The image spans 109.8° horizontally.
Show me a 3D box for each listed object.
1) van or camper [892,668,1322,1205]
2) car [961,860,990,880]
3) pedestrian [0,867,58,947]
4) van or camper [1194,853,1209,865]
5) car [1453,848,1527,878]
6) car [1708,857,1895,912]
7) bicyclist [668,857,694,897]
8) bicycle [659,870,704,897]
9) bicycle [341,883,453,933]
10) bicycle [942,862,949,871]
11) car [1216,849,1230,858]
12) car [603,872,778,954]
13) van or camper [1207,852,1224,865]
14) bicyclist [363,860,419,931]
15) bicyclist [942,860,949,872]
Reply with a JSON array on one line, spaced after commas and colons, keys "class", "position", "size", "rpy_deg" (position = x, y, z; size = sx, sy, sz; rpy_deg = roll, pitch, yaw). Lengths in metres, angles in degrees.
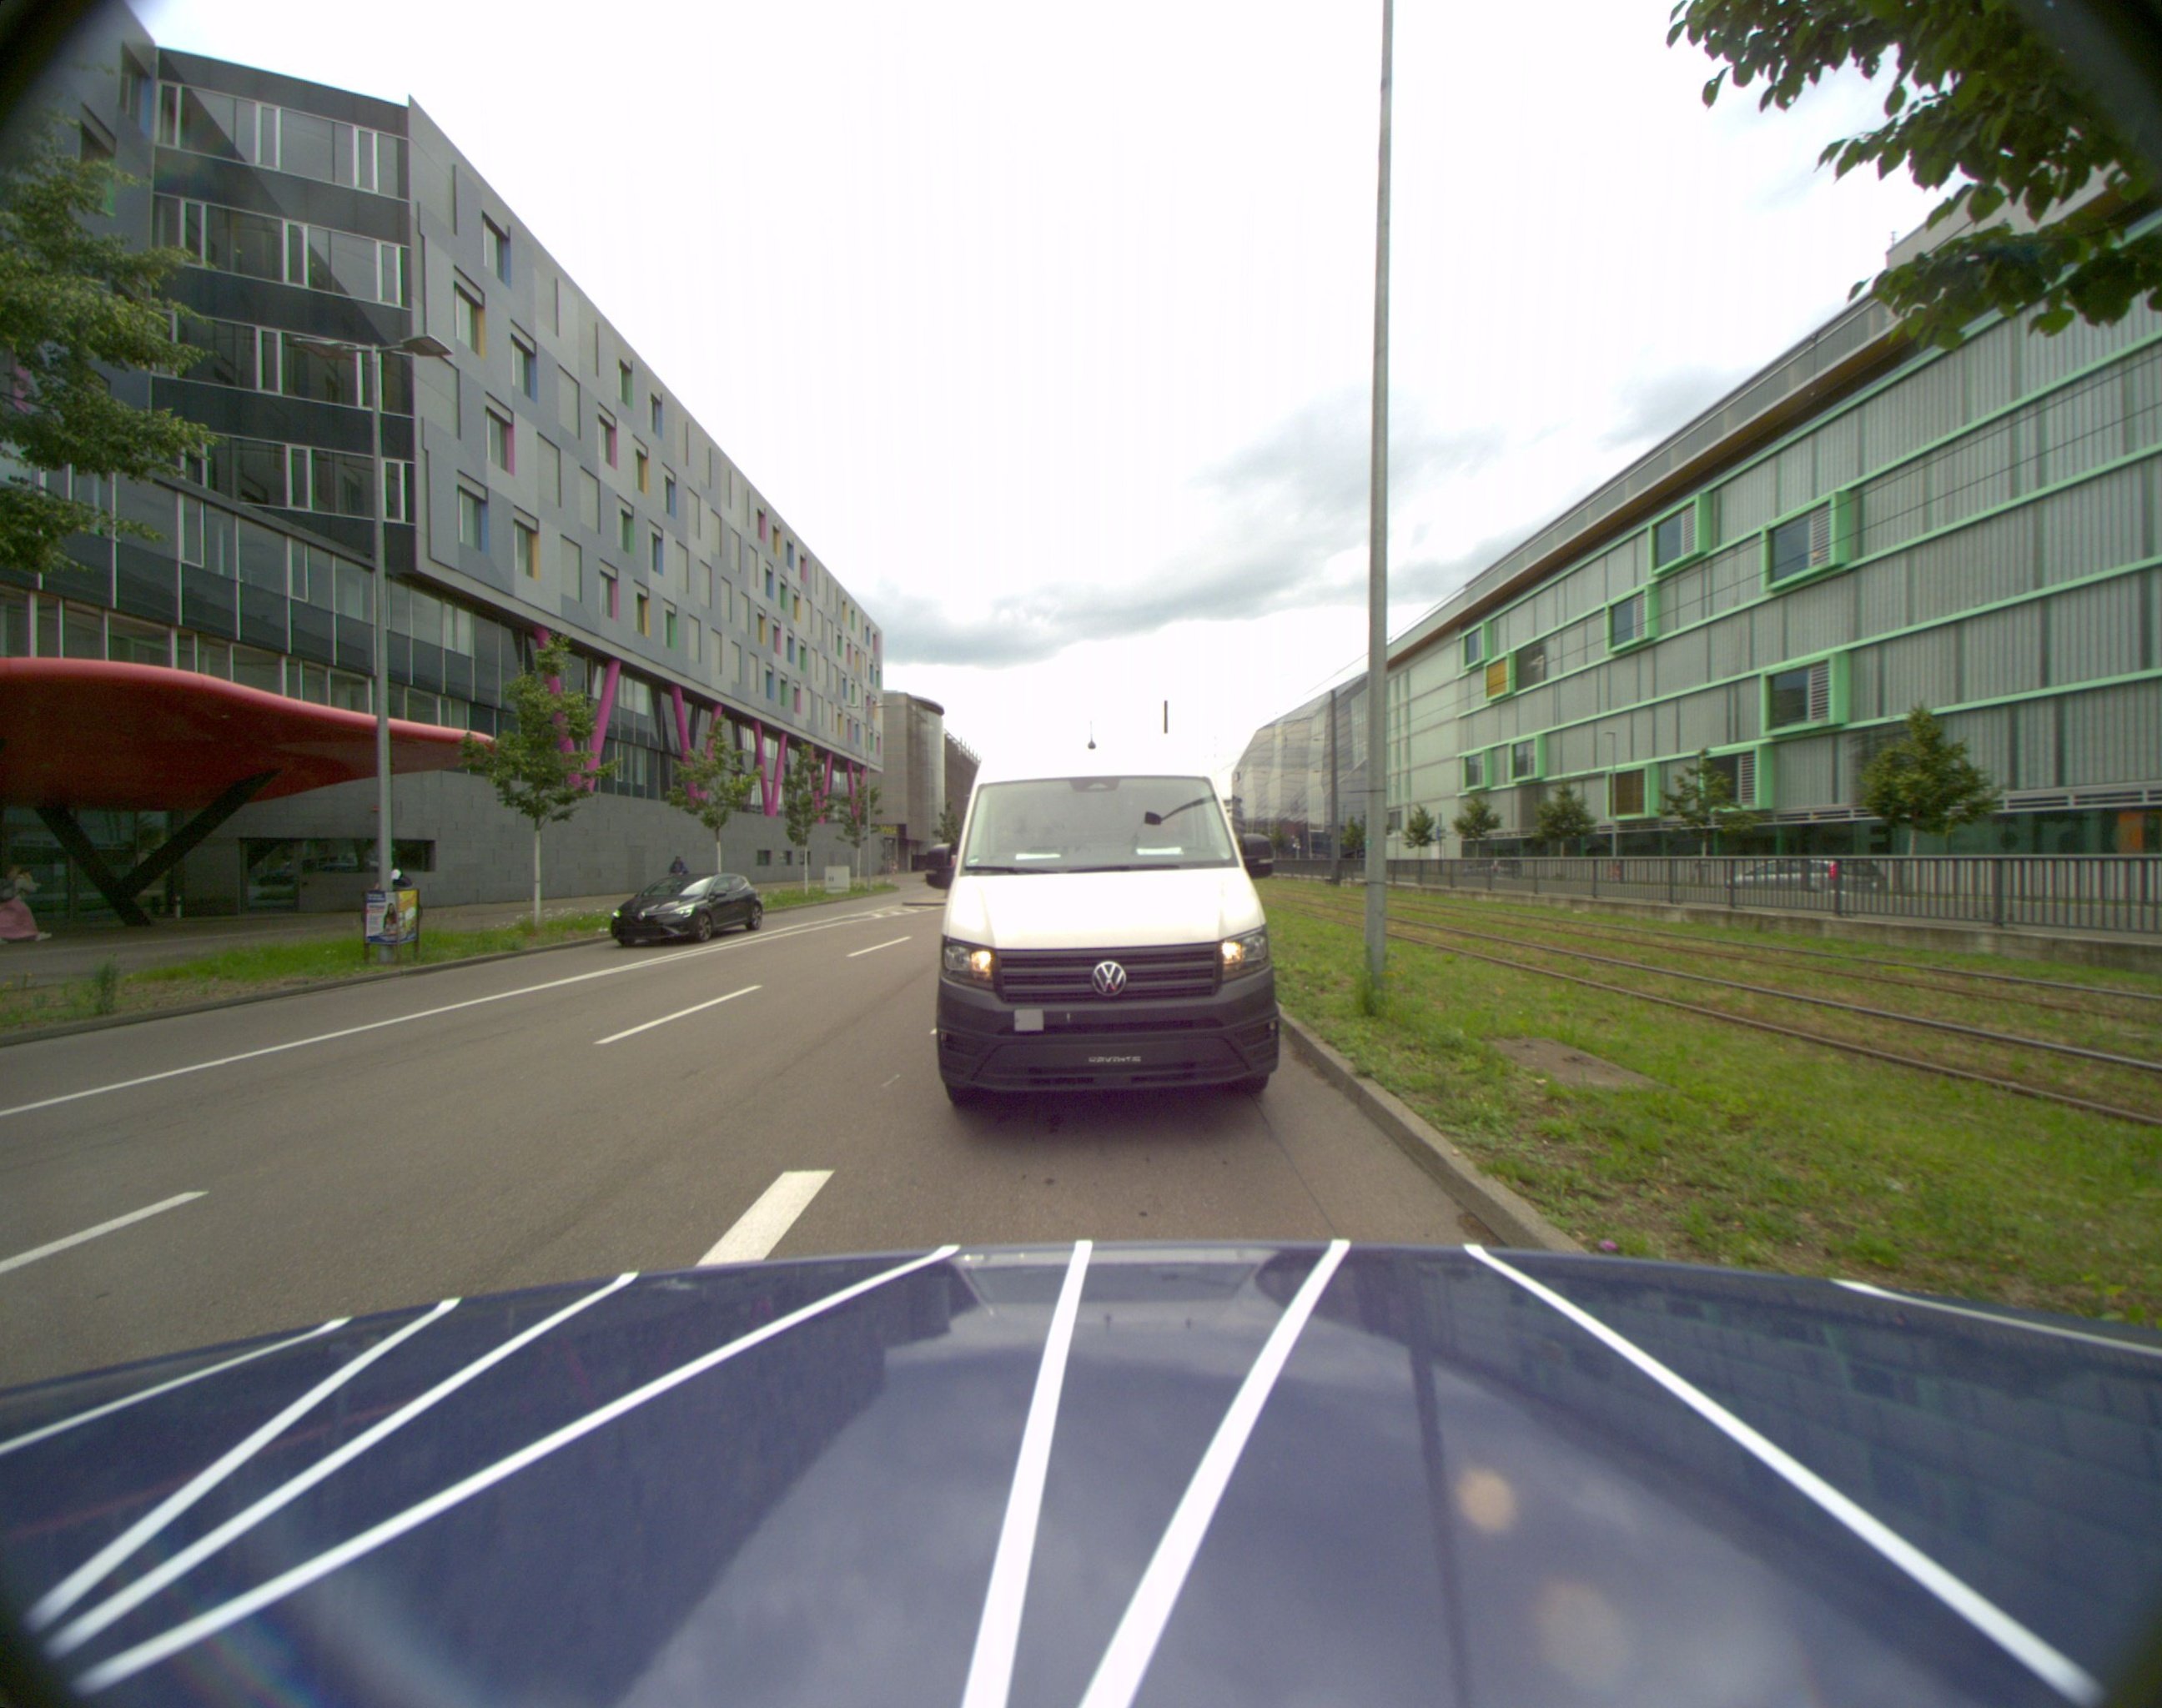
[{"class": "van or camper", "position": [0.131, 0.406, 6.207], "size": [2.043, 2.572, 5.041], "rpy_deg": [-1, 0, 0]}, {"class": "car", "position": [-8.214, 1.222, 59.704], "size": [1.567, 1.452, 4.342], "rpy_deg": [-2, 0, 1]}, {"class": "pedestrian", "position": [-21.764, 1.057, 15.411], "size": [0.786, 1.573, 0.915], "rpy_deg": [0, 0, 2]}, {"class": "van or camper", "position": [24.145, 1.074, 152.393], "size": [2.178, 2.273, 6.507], "rpy_deg": [-2, 0, 1]}, {"class": "car", "position": [23.963, 0.486, 44.737], "size": [1.801, 1.562, 4.577], "rpy_deg": [-3, 1, -1]}, {"class": "car", "position": [23.663, 0.931, 25.265], "size": [1.725, 1.634, 4.674], "rpy_deg": [0, 0, -1]}, {"class": "bicyclist", "position": [-18.262, 1.043, 34.687], "size": [0.784, 1.790, 0.705], "rpy_deg": [-1, -4, 0]}, {"class": "bicycle", "position": [-18.253, 1.378, 34.761], "size": [0.801, 1.150, 2.346], "rpy_deg": [-1, -4, 0]}, {"class": "bicycle", "position": [-17.849, 1.385, 19.913], "size": [0.801, 1.151, 2.345], "rpy_deg": [-1, -1, 0]}, {"class": "bicycle", "position": [-19.389, 1.813, 108.825], "size": [0.785, 1.187, 2.220], "rpy_deg": [0, 0, -2]}, {"class": "car", "position": [26.622, -0.099, 142.754], "size": [1.998, 1.583, 4.769], "rpy_deg": [-1, -2, 3]}, {"class": "car", "position": [-8.476, 1.193, 16.963], "size": [1.567, 1.452, 4.342], "rpy_deg": [-2, 0, 1]}, {"class": "van or camper", "position": [24.163, 0.790, 136.699], "size": [2.178, 2.273, 5.359], "rpy_deg": [0, 0, 1]}, {"class": "bicyclist", "position": [-17.855, 1.052, 19.680], "size": [0.784, 1.792, 0.705], "rpy_deg": [-1, 0, 0]}, {"class": "bicyclist", "position": [-19.404, 1.739, 108.726], "size": [0.772, 1.776, 0.974], "rpy_deg": [0, 0, -3]}]
